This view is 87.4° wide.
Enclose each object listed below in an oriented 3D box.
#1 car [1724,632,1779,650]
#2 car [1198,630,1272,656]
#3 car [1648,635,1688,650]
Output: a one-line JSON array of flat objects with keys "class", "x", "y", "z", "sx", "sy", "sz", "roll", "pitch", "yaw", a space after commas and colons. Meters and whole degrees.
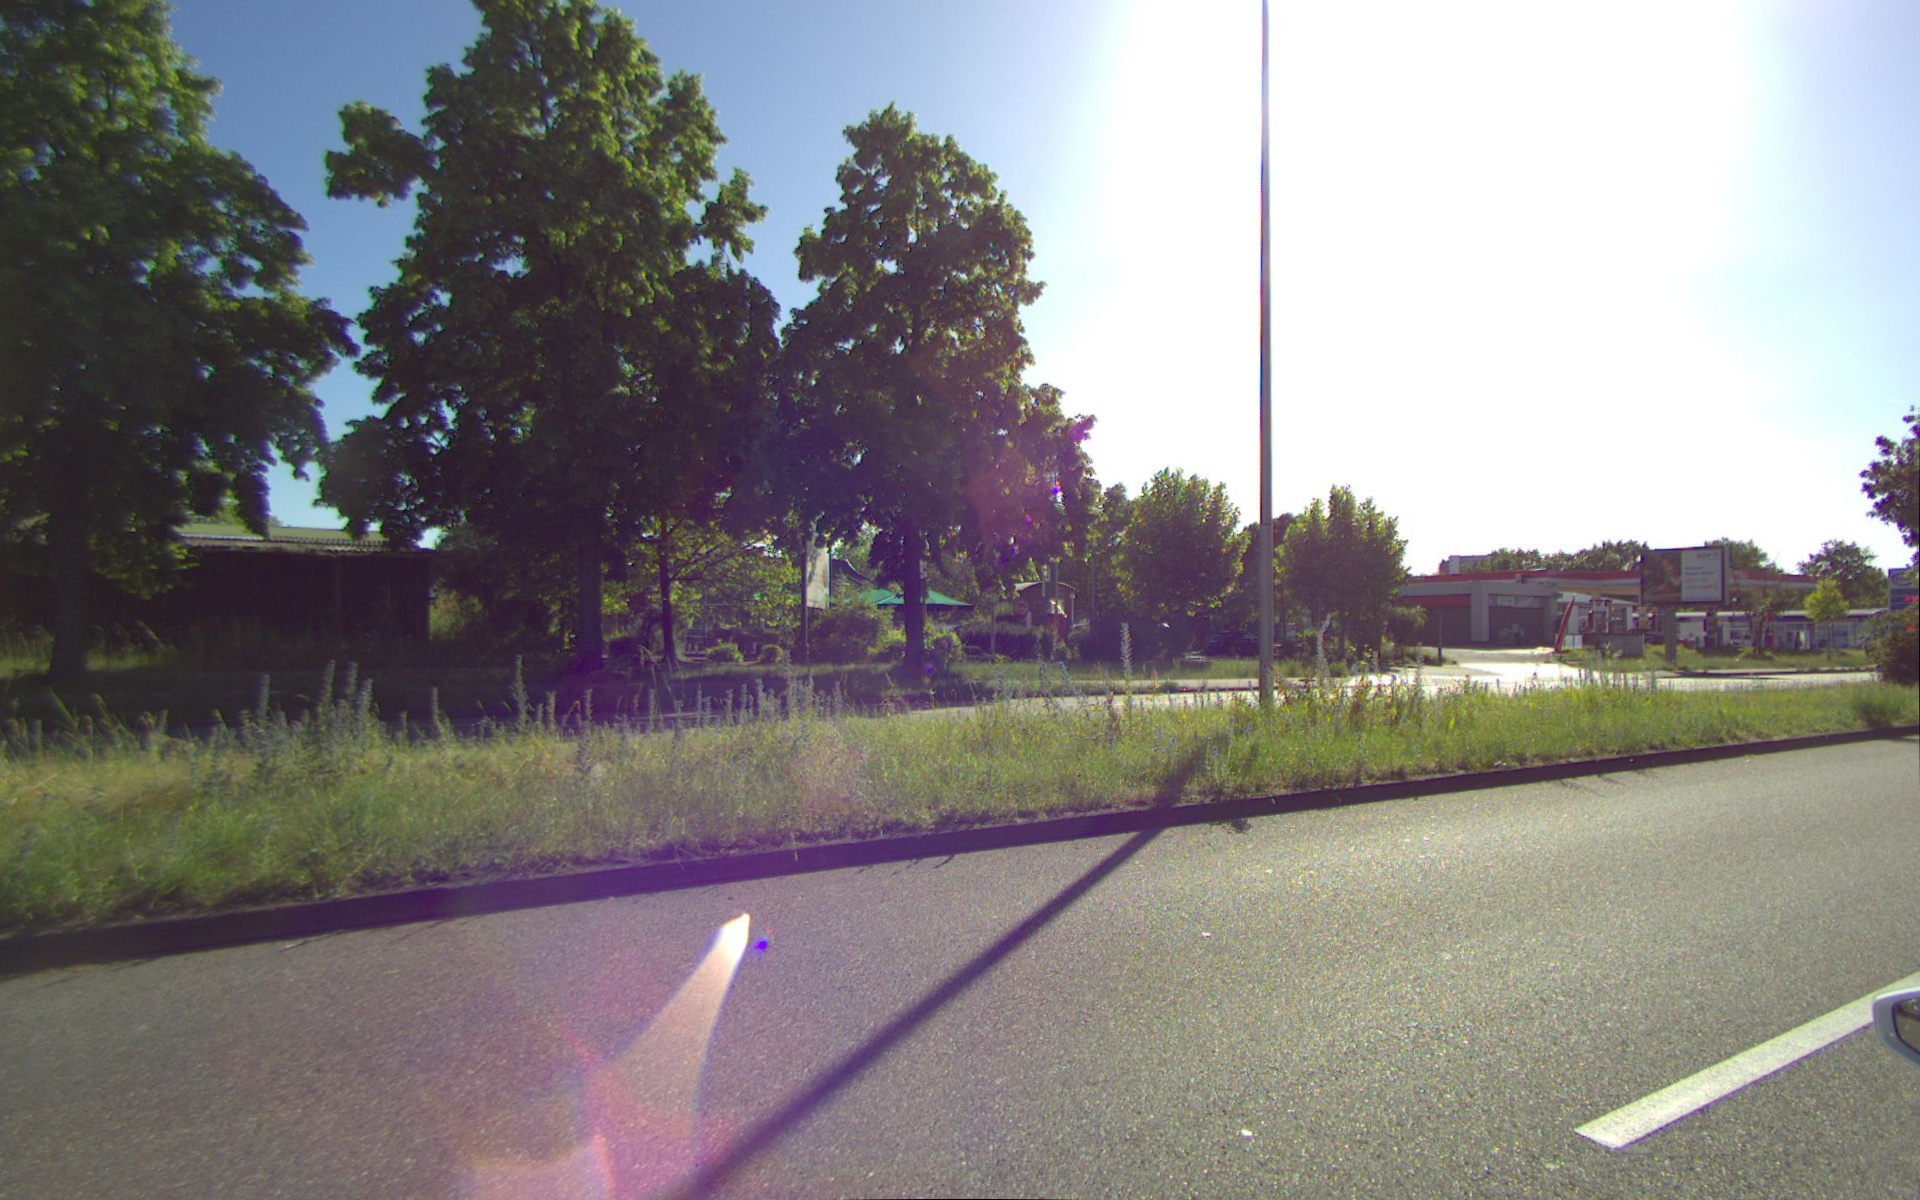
[{"class": "car", "x": 86.259, "y": 4.488, "z": 109.542, "sx": 1.978, "sy": 1.867, "sz": 4.360, "roll": 2, "pitch": -2, "yaw": -32}, {"class": "car", "x": 15.219, "y": 2.370, "z": 55.505, "sx": 3.886, "sy": 1.327, "sz": 1.779, "roll": 2, "pitch": -2, "yaw": -31}, {"class": "car", "x": 74.185, "y": 4.452, "z": 105.272, "sx": 4.242, "sy": 1.570, "sz": 1.802, "roll": 2, "pitch": -2, "yaw": -30}]
